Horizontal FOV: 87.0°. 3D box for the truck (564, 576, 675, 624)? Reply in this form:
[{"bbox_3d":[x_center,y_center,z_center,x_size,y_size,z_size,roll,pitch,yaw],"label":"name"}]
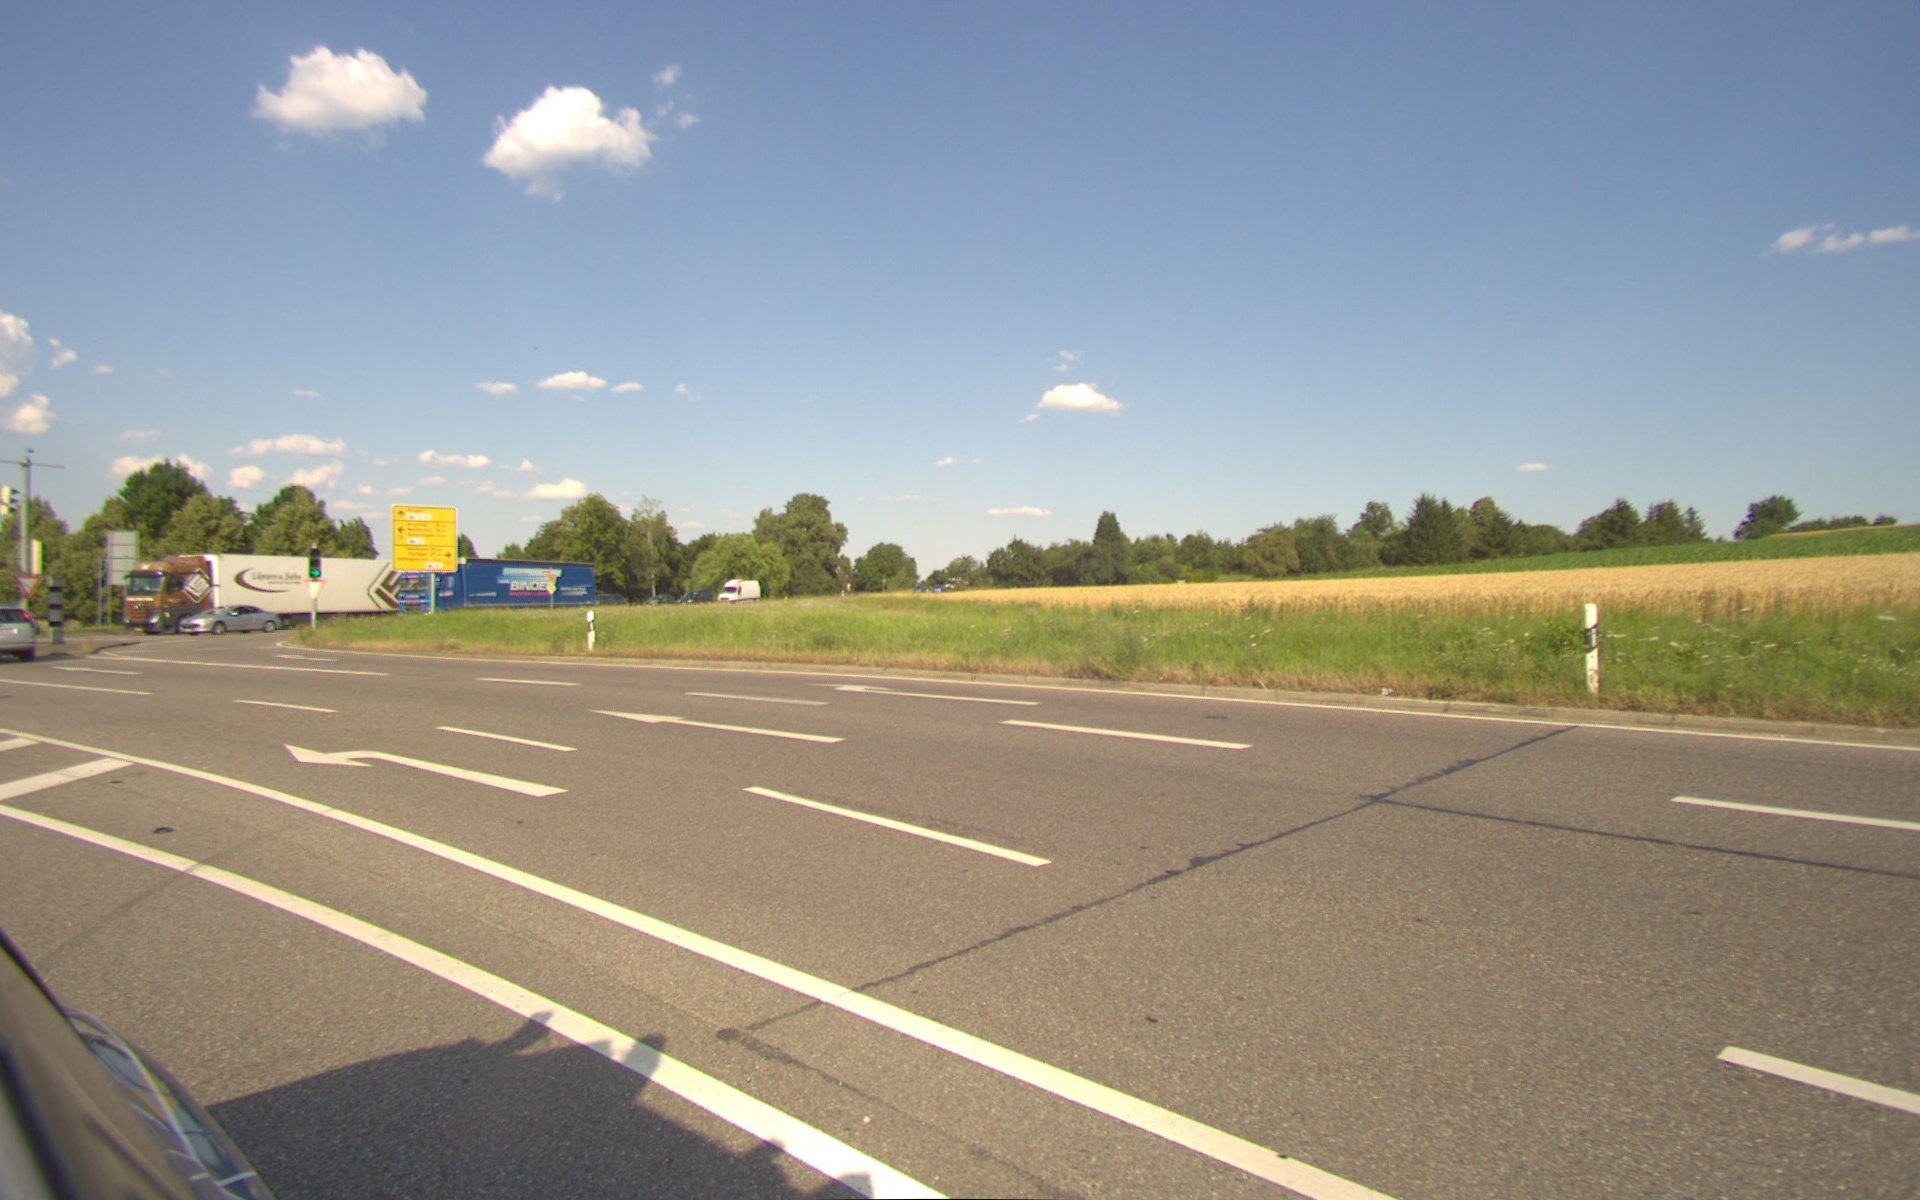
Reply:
[{"bbox_3d":[-29.543,-0.066,88.712,2.507,3.802,12.837,-2,0,15],"label":"truck"}]

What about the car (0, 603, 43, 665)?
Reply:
[{"bbox_3d":[-26.017,0.993,26.512,4.338,1.540,1.801,-4,-1,32],"label":"car"}]

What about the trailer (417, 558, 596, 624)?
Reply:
[{"bbox_3d":[-30.578,-0.624,69.460,3.386,4.035,13.687,-2,0,14],"label":"trailer"}]

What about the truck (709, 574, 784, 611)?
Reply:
[{"bbox_3d":[-23.404,-0.890,111.824,2.507,3.802,12.837,-2,0,15],"label":"truck"}]

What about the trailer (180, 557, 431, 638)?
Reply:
[{"bbox_3d":[-37.194,-0.153,58.792,2.516,4.097,14.267,-2,0,15],"label":"trailer"}]

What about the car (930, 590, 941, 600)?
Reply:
[{"bbox_3d":[-3.789,-0.762,156.697,1.740,1.512,4.000,1,-1,-1],"label":"car"}]

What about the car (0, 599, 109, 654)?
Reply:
[{"bbox_3d":[-37.121,1.048,40.522,1.890,1.962,4.353,-2,1,14],"label":"car"}]

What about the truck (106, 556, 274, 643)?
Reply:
[{"bbox_3d":[-39.024,-0.057,51.606,2.517,4.074,6.629,-2,0,15],"label":"truck"}]

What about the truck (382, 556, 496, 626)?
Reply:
[{"bbox_3d":[-32.187,-0.545,62.743,3.344,4.035,5.576,-2,0,14],"label":"truck"}]

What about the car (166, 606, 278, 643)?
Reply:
[{"bbox_3d":[-35.526,1.150,48.846,1.981,1.497,3.982,-2,1,14],"label":"car"}]
